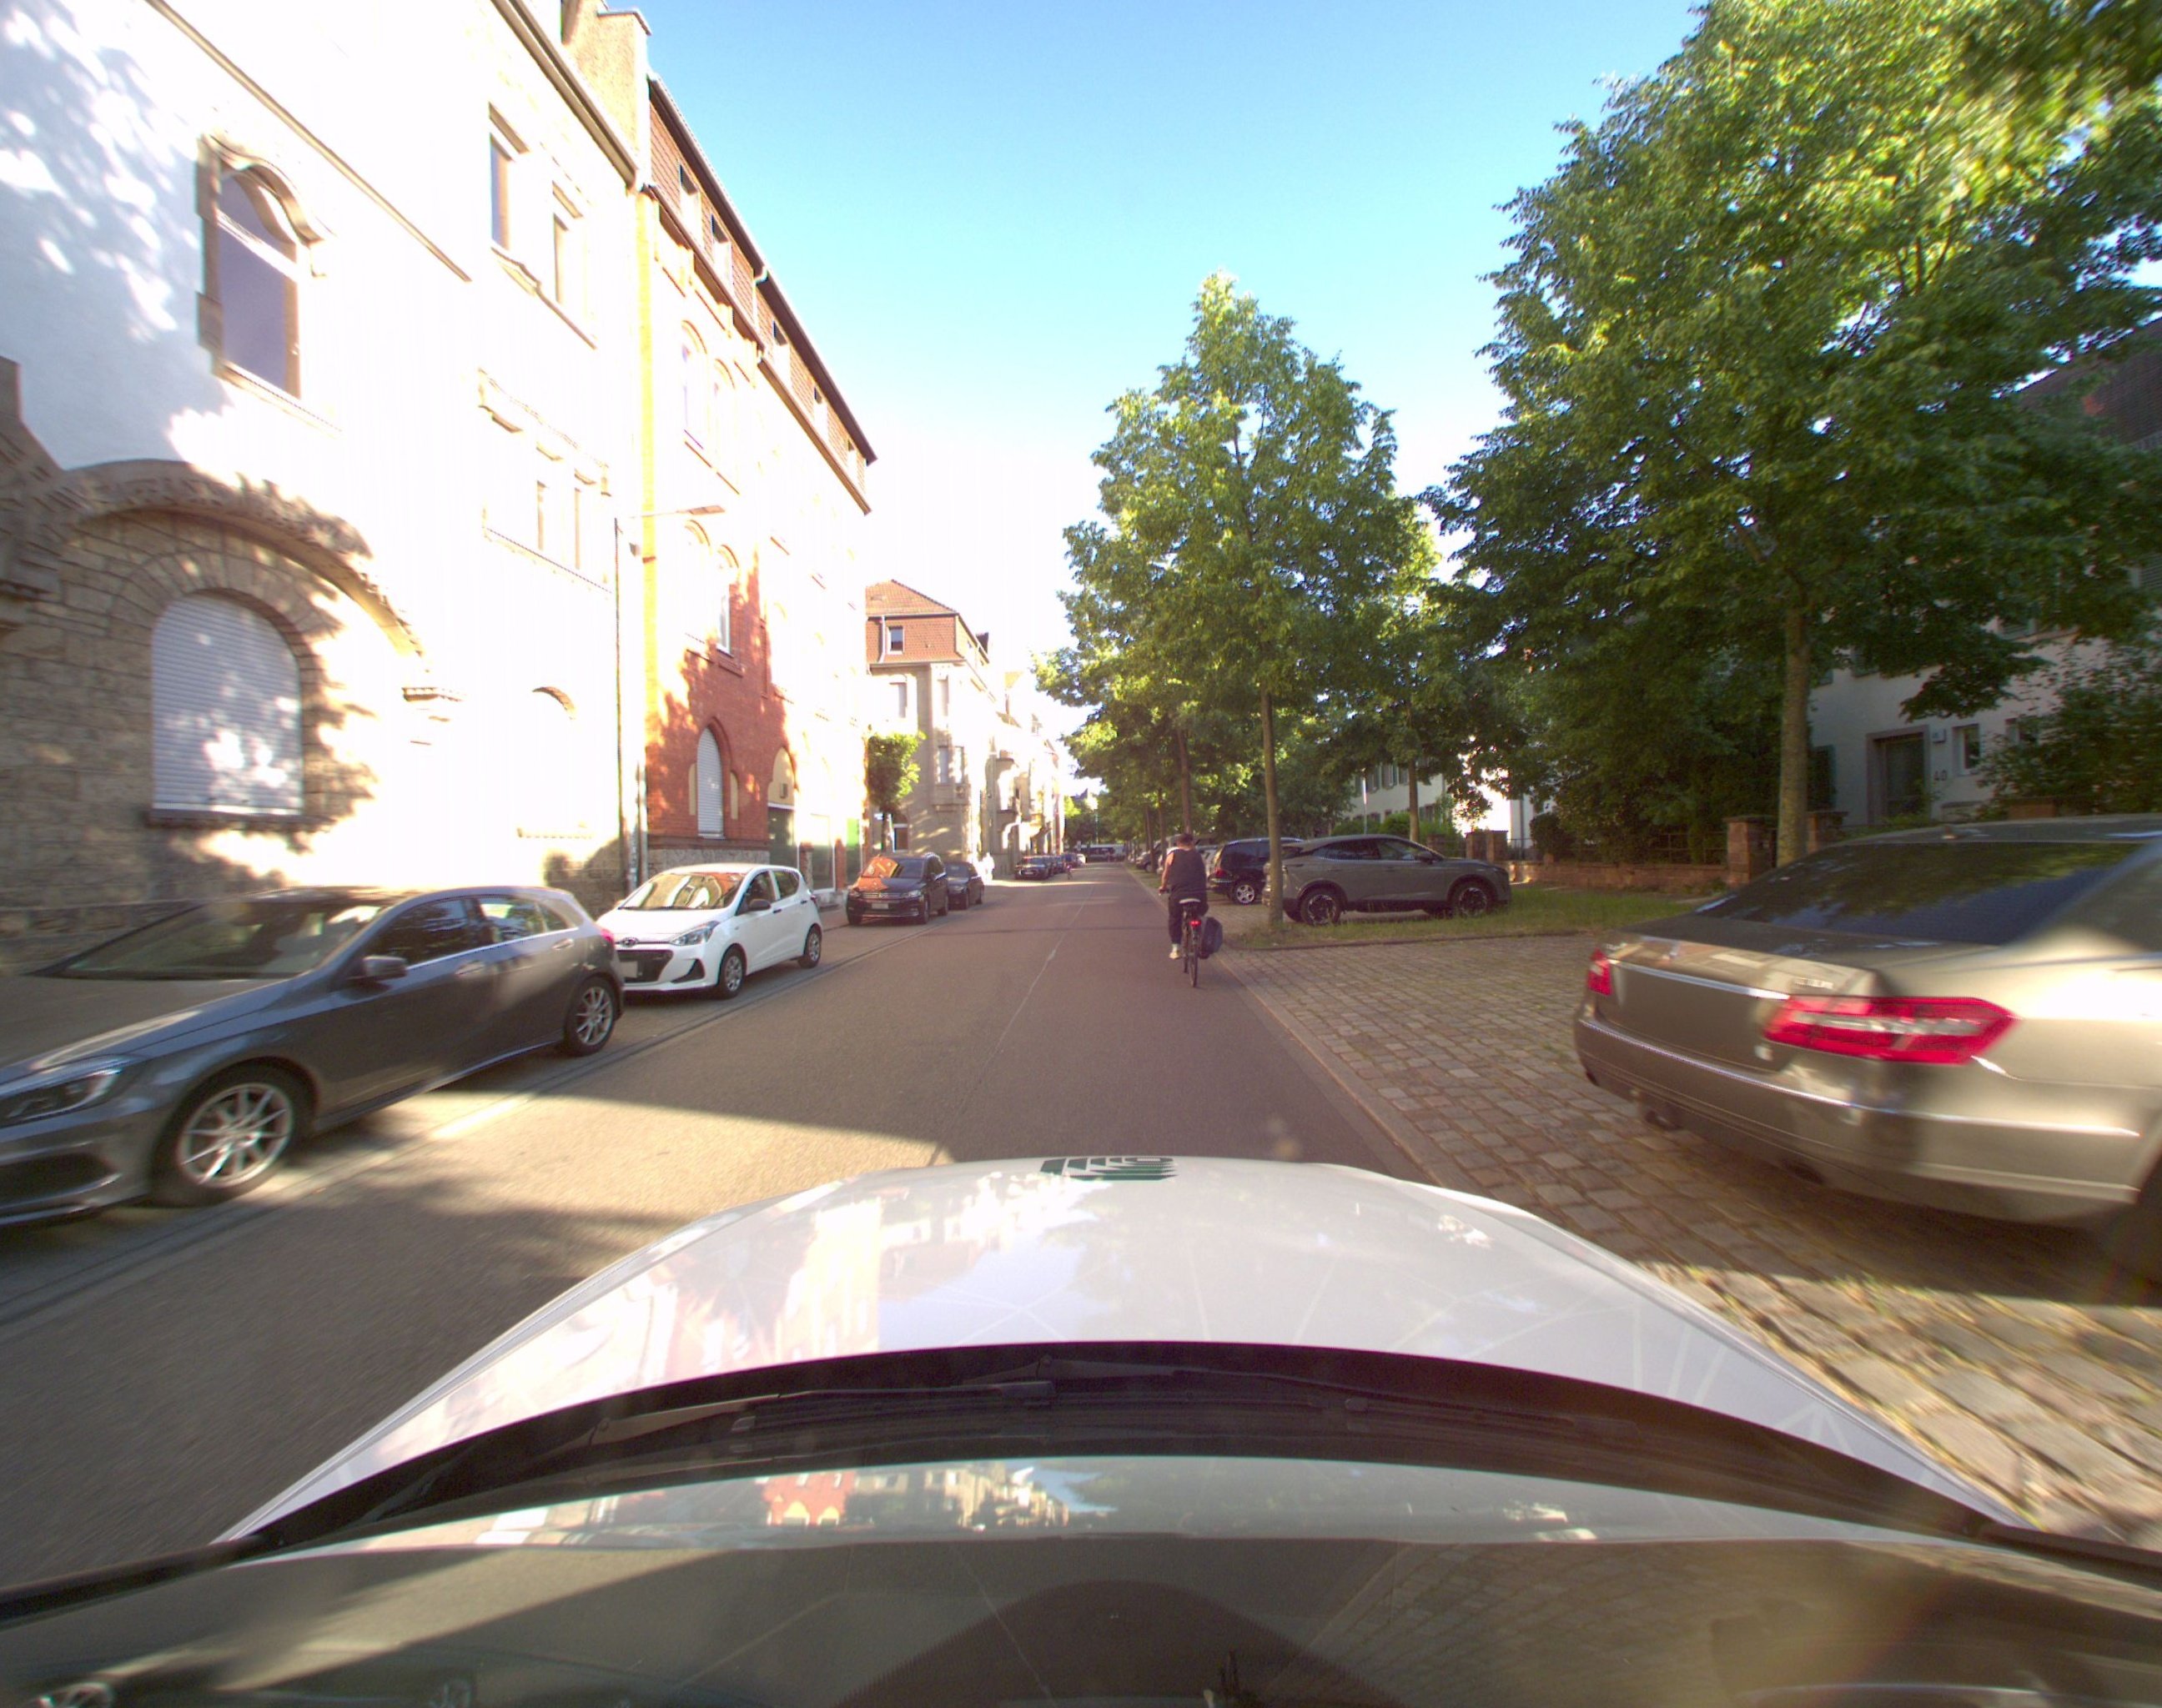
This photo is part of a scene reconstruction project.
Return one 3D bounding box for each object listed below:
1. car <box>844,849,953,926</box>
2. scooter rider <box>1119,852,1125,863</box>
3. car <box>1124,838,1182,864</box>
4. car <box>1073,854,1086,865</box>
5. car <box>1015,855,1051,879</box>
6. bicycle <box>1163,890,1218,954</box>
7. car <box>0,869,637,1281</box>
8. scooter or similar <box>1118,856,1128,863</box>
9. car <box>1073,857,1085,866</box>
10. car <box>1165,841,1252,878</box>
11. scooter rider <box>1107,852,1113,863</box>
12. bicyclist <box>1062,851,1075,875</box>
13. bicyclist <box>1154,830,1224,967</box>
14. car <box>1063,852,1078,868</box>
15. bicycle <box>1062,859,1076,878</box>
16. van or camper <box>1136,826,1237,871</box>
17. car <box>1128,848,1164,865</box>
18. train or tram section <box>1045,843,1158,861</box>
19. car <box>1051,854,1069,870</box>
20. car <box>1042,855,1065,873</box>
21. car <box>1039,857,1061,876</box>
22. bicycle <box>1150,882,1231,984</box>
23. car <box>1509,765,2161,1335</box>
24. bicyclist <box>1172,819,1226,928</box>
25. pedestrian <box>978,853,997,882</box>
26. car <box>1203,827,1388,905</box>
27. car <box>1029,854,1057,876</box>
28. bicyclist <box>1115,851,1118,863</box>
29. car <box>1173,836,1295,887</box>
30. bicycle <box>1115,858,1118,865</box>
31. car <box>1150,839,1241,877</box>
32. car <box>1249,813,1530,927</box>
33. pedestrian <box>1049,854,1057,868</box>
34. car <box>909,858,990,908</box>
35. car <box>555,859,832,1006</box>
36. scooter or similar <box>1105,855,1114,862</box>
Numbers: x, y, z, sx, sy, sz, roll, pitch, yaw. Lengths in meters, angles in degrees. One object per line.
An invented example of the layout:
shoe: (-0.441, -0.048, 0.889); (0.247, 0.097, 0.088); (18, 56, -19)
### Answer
car: (-4.355, 0.759, 20.108); (1.664, 1.681, 4.349); (-1, 0, 0)
scooter rider: (6.859, 0.529, 135.703); (0.869, 1.841, 0.670); (0, -1, -3)
car: (9.258, -0.380, 104.849); (7.126, 2.978, 2.463); (-3, 0, -1)
car: (-0.246, 0.756, 110.973); (1.577, 1.343, 4.134); (0, 0, 3)
car: (-2.999, 0.785, 51.483); (1.804, 1.427, 4.900); (1, 0, 2)
bicycle: (1.656, 1.011, 12.523); (0.631, 0.799, 1.833); (-2, 0, 2)
car: (-4.780, 0.874, 5.115); (1.671, 1.442, 4.112); (0, 0, 1)
scooter or similar: (6.932, 0.869, 135.696); (1.595, 1.147, 0.677); (0, -1, -4)
car: (-0.299, 1.121, 128.555); (1.577, 1.375, 4.134); (0, 0, 3)
car: (6.354, 0.244, 40.764); (4.051, 1.476, 1.695); (-5, 1, 2)
scooter rider: (4.910, 0.577, 138.727); (0.869, 1.841, 0.670); (0, -1, -3)
bicyclist: (-0.775, 0.566, 50.845); (0.757, 1.454, 0.949); (-2, -1, 2)
bicyclist: (1.259, 0.504, 9.647); (0.727, 1.548, 0.884); (0, -1, 1)
car: (-1.266, 0.735, 99.829); (1.682, 1.825, 4.275); (0, 0, 3)
bicycle: (-0.756, 0.898, 50.918); (0.755, 1.107, 1.908); (-3, -1, 2)
van or camper: (7.698, -0.389, 60.038); (7.116, 2.647, 2.467); (-5, 0, 3)
car: (7.766, 0.339, 97.564); (4.070, 1.650, 1.641); (-5, -1, 0)
train or tram section: (4.478, -0.369, 170.879); (23.889, 3.708, 4.256); (0, -1, -21)
car: (-2.017, 0.755, 79.830); (1.590, 1.489, 2.737); (2, 0, 0)
car: (-2.363, 0.826, 70.836); (1.669, 1.430, 4.553); (0, 0, 3)
car: (-2.450, 0.990, 65.024); (1.624, 1.453, 3.837); (-1, 0, 0)
bicycle: (1.259, 0.881, 9.715); (0.735, 1.054, 1.956); (0, -1, 1)
car: (4.670, 0.389, 3.286); (4.822, 1.539, 1.894); (-5, 0, -1)
bicyclist: (1.816, 0.291, 12.602); (0.687, 1.626, 0.998); (0, 0, 0)
pedestrian: (-5.310, 0.746, 46.265); (0.884, 1.577, 1.054); (-3, 0, 2)
car: (5.793, 0.306, 22.447); (4.562, 1.677, 1.909); (-5, 0, 3)
car: (-2.661, 0.809, 57.936); (1.690, 1.453, 4.028); (-2, -1, 1)
bicyclist: (5.191, 0.459, 119.803); (0.484, 1.744, 0.656); (0, -1, 2)
car: (6.200, 0.289, 33.305); (4.530, 1.633, 1.810); (-5, 0, -4)
bicycle: (5.212, 1.065, 119.814); (0.496, 1.005, 1.475); (-1, 1, 2)
car: (6.038, 0.204, 43.496); (4.600, 1.709, 1.835); (-4, 0, 3)
car: (5.611, 0.288, 15.258); (4.460, 1.633, 1.875); (-5, 0, 0)
pedestrian: (-3.368, 0.829, 97.837); (0.934, 1.742, 0.735); (0, -1, 3)
car: (-4.023, 0.844, 25.566); (1.629, 1.411, 4.335); (1, 0, 2)
car: (-4.571, 0.823, 10.242); (1.559, 1.470, 3.595); (-1, 0, 4)
scooter or similar: (4.859, 0.801, 138.723); (1.595, 1.147, 0.677); (0, -1, -4)
